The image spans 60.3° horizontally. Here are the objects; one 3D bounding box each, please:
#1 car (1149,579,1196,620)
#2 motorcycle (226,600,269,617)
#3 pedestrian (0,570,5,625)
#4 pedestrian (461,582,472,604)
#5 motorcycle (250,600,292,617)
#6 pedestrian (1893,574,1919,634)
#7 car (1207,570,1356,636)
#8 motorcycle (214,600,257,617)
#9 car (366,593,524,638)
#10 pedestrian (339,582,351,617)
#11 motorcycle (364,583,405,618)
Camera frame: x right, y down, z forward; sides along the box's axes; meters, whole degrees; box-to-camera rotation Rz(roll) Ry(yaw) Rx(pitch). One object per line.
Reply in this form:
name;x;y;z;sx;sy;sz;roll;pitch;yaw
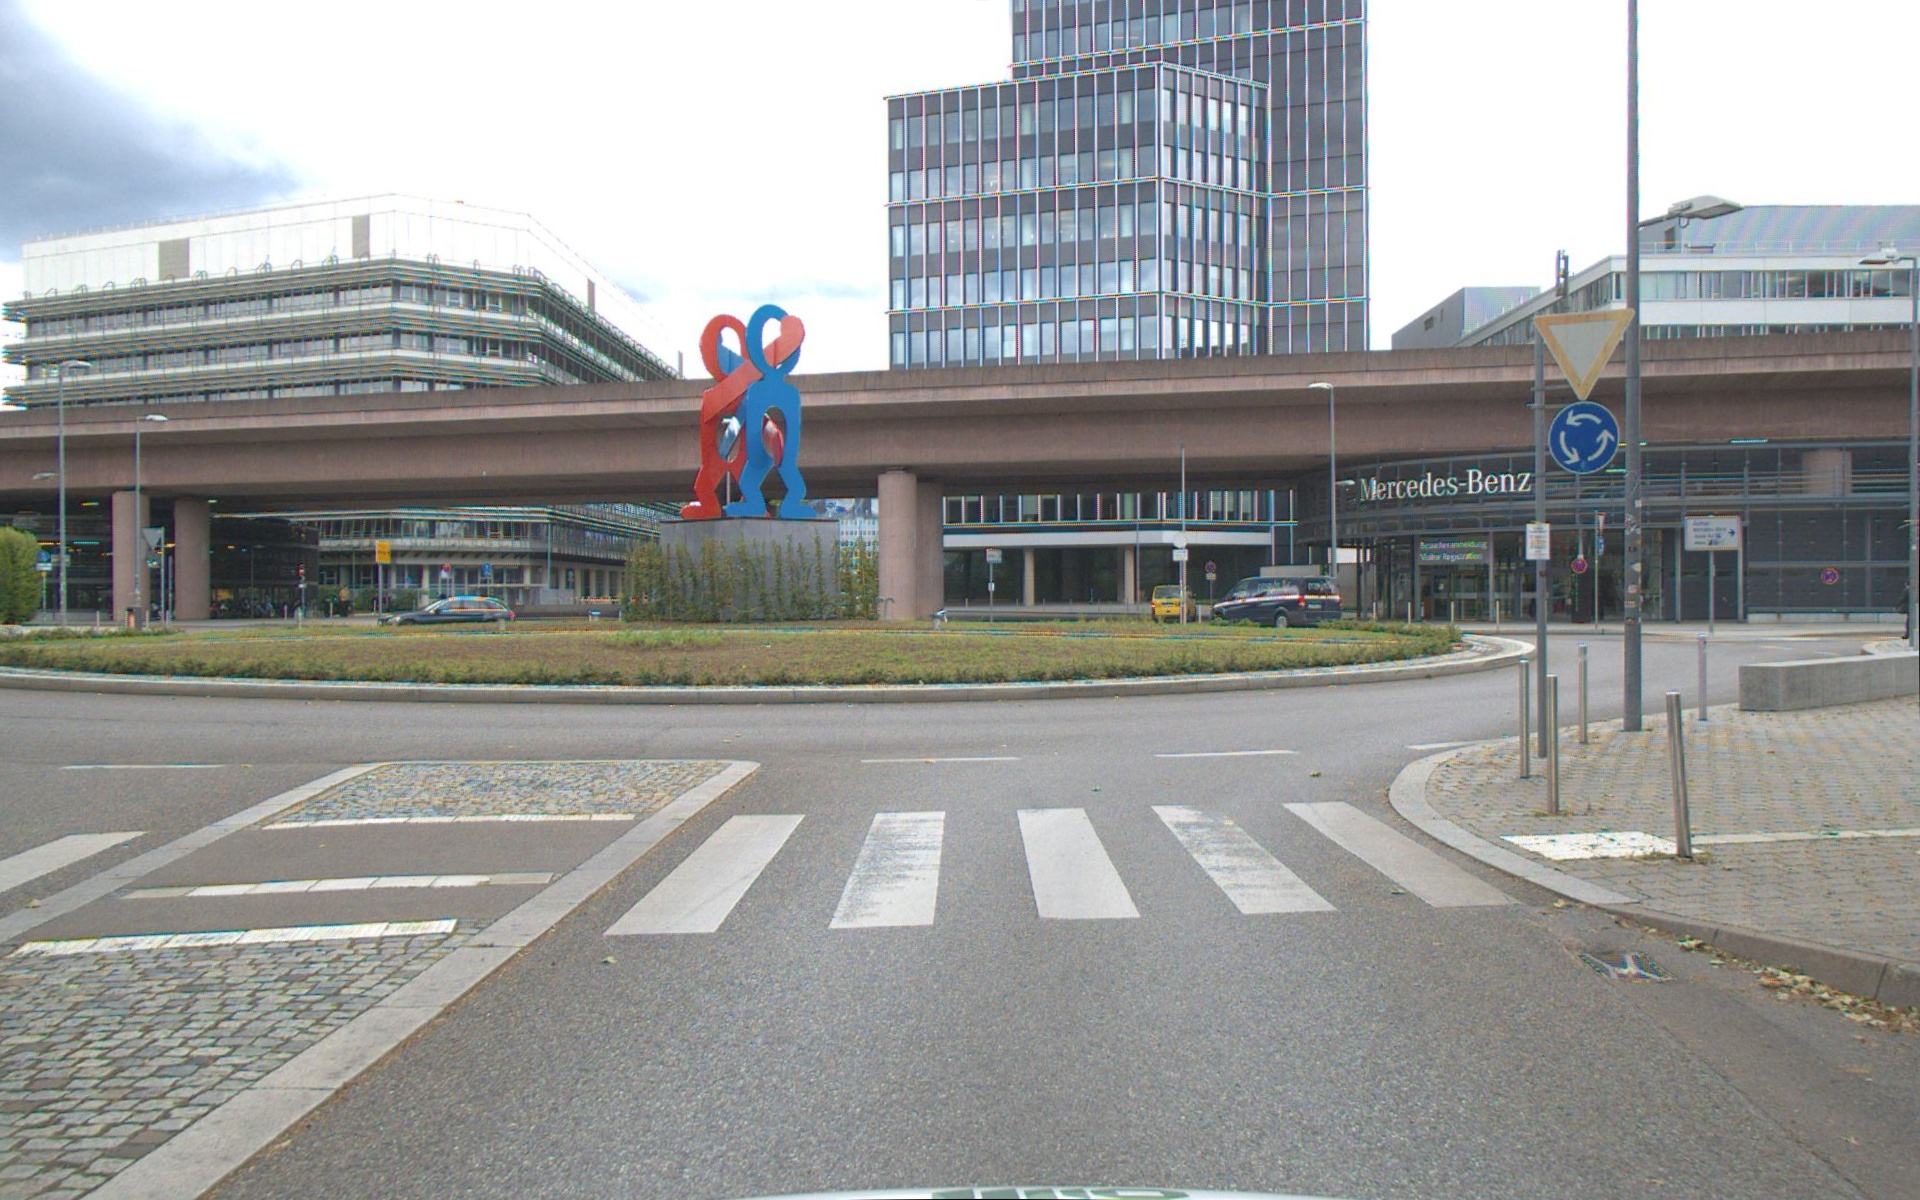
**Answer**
car;11.076;-0.012;86.042;1.951;2.049;4.003;0;0;14
motorcycle;-47.672;0.582;110.712;2.597;1.132;1.040;0;0;18
pedestrian;-36.367;-0.108;61.817;1.025;2.049;0.597;1;-1;-15
pedestrian;-44.210;-0.627;148.205;0.760;2.049;0.670;0;0;-3
motorcycle;-46.784;0.595;112.282;2.597;1.132;1.040;0;0;18
pedestrian;25.665;0.119;44.446;0.813;1.598;0.690;0;0;6
car;10.513;0.095;54.446;2.254;2.049;4.732;1;0;-32
motorcycle;-47.939;0.576;109.441;2.597;1.132;1.040;0;0;18
car;-17.625;0.534;56.646;4.870;1.486;1.978;1;0;-32
pedestrian;-35.908;-0.016;96.627;0.578;2.049;0.597;1;-1;-15
motorcycle;-21.299;0.029;61.251;0.654;1.273;1.886;0;0;7
